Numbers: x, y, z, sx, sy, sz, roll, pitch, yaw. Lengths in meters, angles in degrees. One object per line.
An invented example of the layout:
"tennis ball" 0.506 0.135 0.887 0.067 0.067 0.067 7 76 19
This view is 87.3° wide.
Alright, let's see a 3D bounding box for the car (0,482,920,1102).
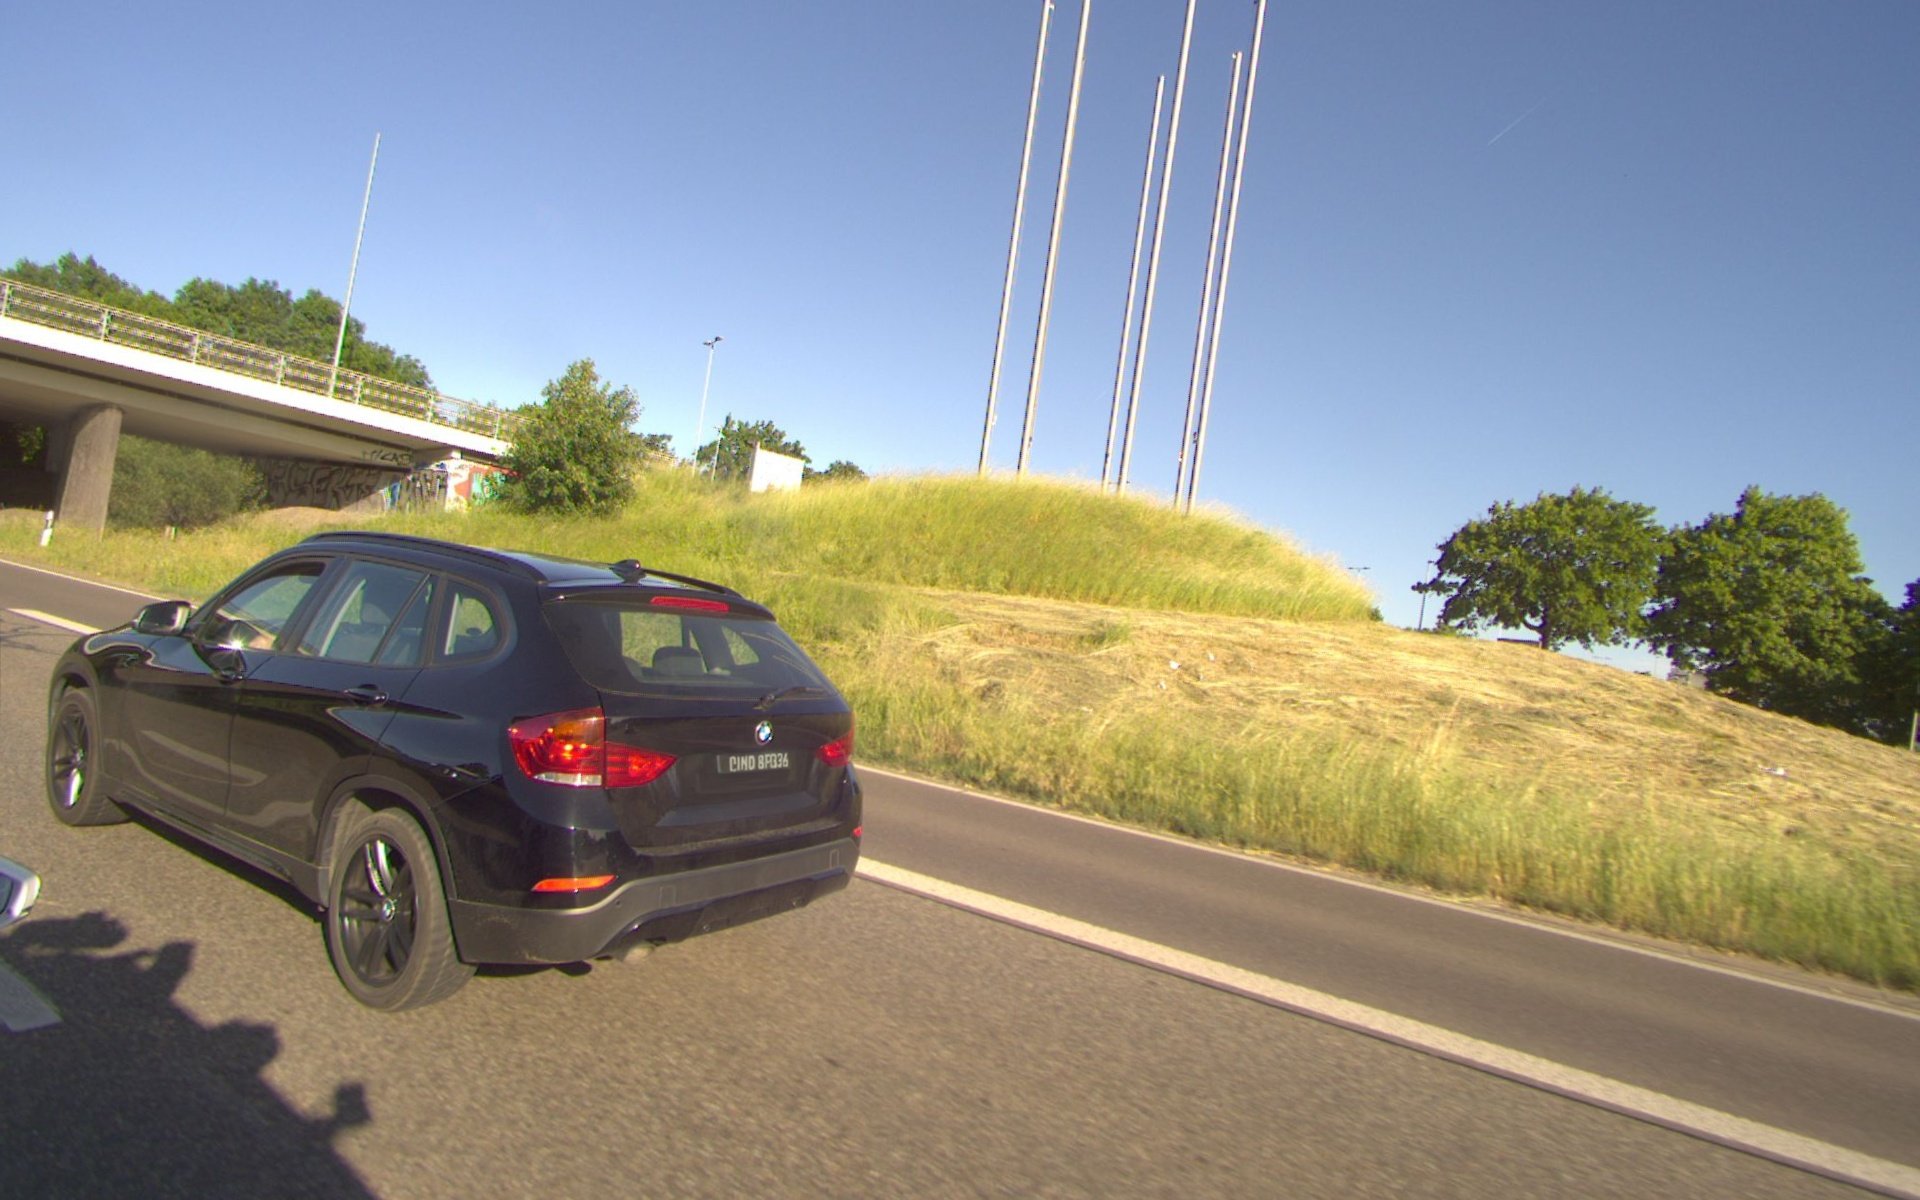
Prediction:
"car" -2.588 0.449 4.667 4.503 1.525 1.701 7 0 32
